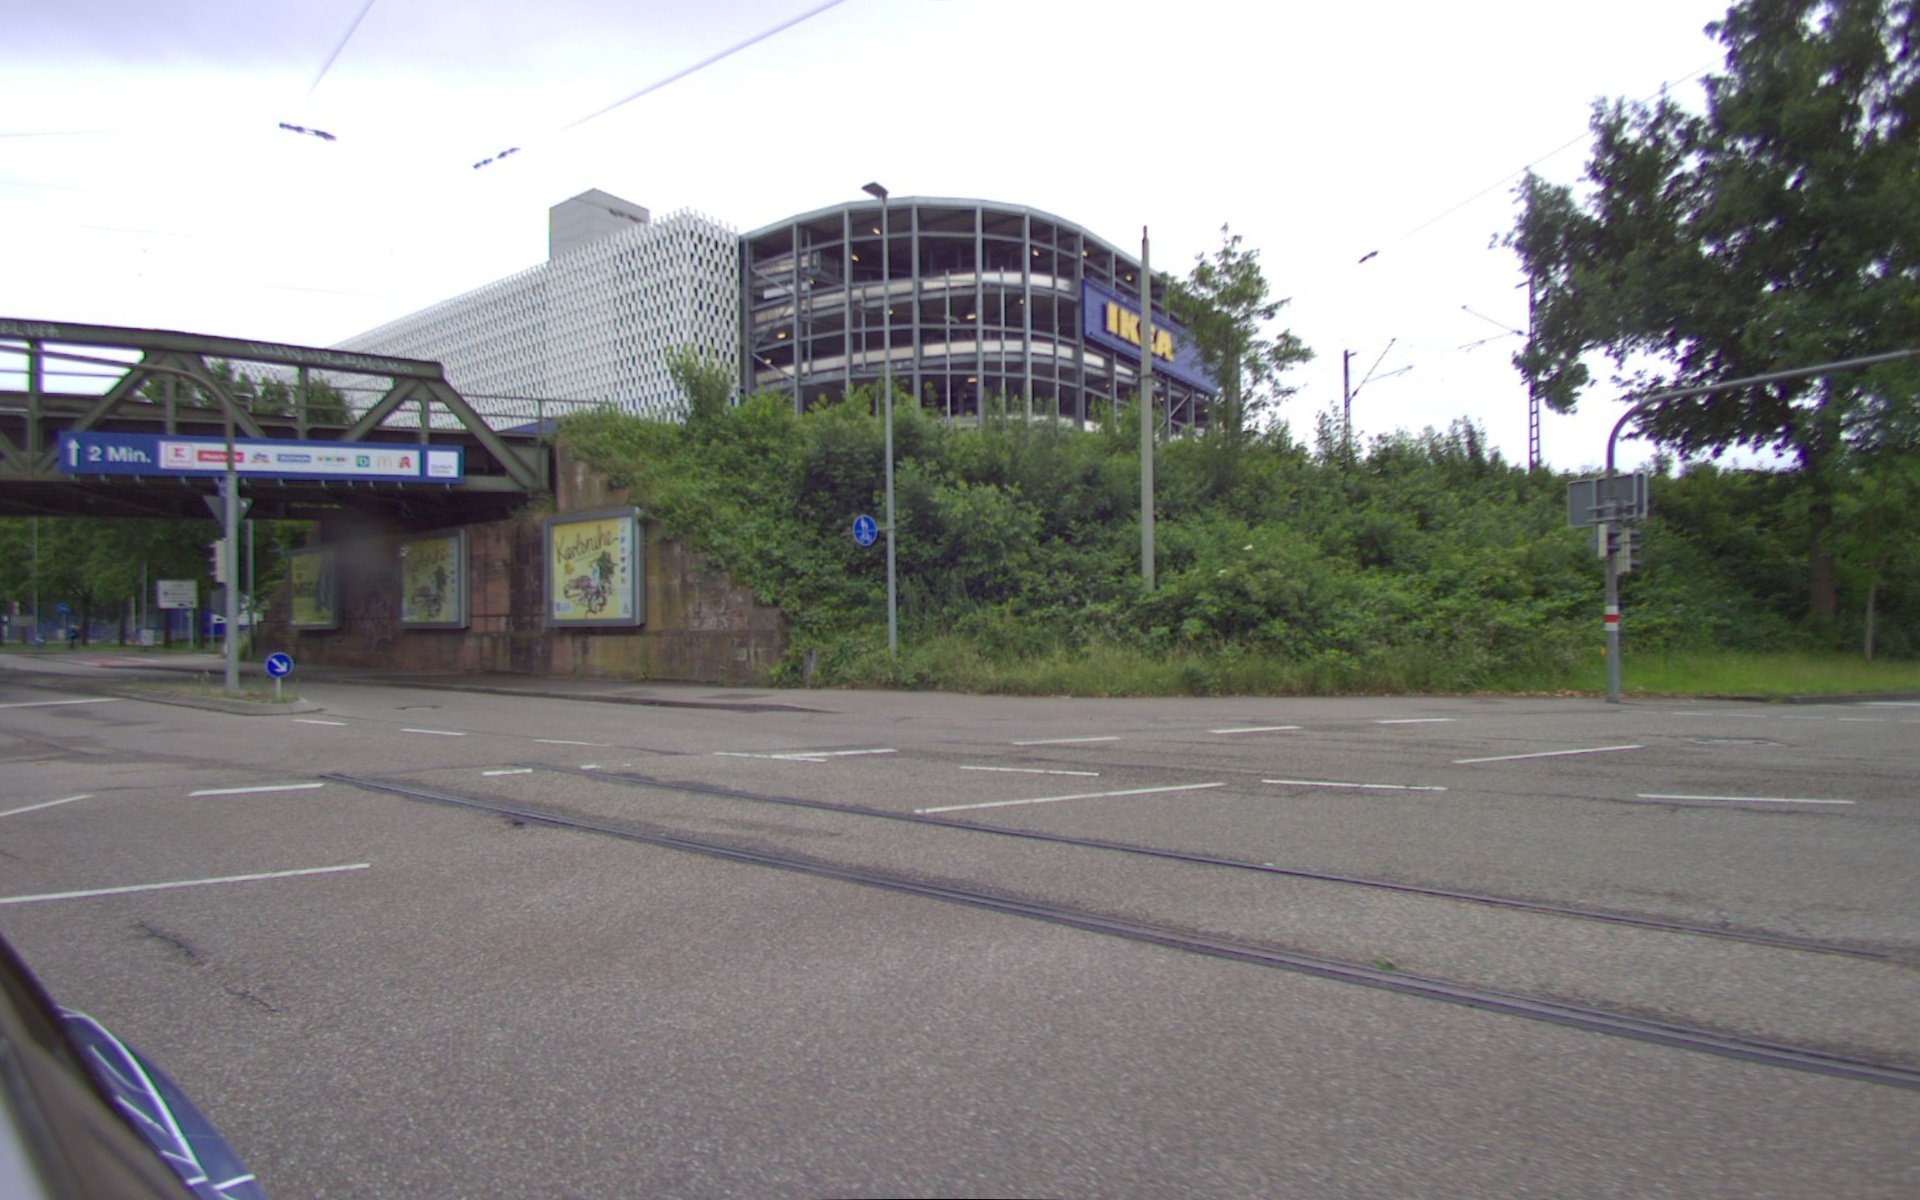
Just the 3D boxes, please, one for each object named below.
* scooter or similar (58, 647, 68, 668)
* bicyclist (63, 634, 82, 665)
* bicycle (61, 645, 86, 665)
[{"bbox_3d":[-59.845,3.826,67.485,0.442,1.331,1.506,0,-2,-44],"label":"scooter or similar"},{"bbox_3d":[-56.205,3.114,64.107,1.018,1.888,0.695,-1,0,37],"label":"bicyclist"},{"bbox_3d":[-56.176,3.465,64.107,2.366,1.196,0.706,-1,0,37],"label":"bicycle"}]
